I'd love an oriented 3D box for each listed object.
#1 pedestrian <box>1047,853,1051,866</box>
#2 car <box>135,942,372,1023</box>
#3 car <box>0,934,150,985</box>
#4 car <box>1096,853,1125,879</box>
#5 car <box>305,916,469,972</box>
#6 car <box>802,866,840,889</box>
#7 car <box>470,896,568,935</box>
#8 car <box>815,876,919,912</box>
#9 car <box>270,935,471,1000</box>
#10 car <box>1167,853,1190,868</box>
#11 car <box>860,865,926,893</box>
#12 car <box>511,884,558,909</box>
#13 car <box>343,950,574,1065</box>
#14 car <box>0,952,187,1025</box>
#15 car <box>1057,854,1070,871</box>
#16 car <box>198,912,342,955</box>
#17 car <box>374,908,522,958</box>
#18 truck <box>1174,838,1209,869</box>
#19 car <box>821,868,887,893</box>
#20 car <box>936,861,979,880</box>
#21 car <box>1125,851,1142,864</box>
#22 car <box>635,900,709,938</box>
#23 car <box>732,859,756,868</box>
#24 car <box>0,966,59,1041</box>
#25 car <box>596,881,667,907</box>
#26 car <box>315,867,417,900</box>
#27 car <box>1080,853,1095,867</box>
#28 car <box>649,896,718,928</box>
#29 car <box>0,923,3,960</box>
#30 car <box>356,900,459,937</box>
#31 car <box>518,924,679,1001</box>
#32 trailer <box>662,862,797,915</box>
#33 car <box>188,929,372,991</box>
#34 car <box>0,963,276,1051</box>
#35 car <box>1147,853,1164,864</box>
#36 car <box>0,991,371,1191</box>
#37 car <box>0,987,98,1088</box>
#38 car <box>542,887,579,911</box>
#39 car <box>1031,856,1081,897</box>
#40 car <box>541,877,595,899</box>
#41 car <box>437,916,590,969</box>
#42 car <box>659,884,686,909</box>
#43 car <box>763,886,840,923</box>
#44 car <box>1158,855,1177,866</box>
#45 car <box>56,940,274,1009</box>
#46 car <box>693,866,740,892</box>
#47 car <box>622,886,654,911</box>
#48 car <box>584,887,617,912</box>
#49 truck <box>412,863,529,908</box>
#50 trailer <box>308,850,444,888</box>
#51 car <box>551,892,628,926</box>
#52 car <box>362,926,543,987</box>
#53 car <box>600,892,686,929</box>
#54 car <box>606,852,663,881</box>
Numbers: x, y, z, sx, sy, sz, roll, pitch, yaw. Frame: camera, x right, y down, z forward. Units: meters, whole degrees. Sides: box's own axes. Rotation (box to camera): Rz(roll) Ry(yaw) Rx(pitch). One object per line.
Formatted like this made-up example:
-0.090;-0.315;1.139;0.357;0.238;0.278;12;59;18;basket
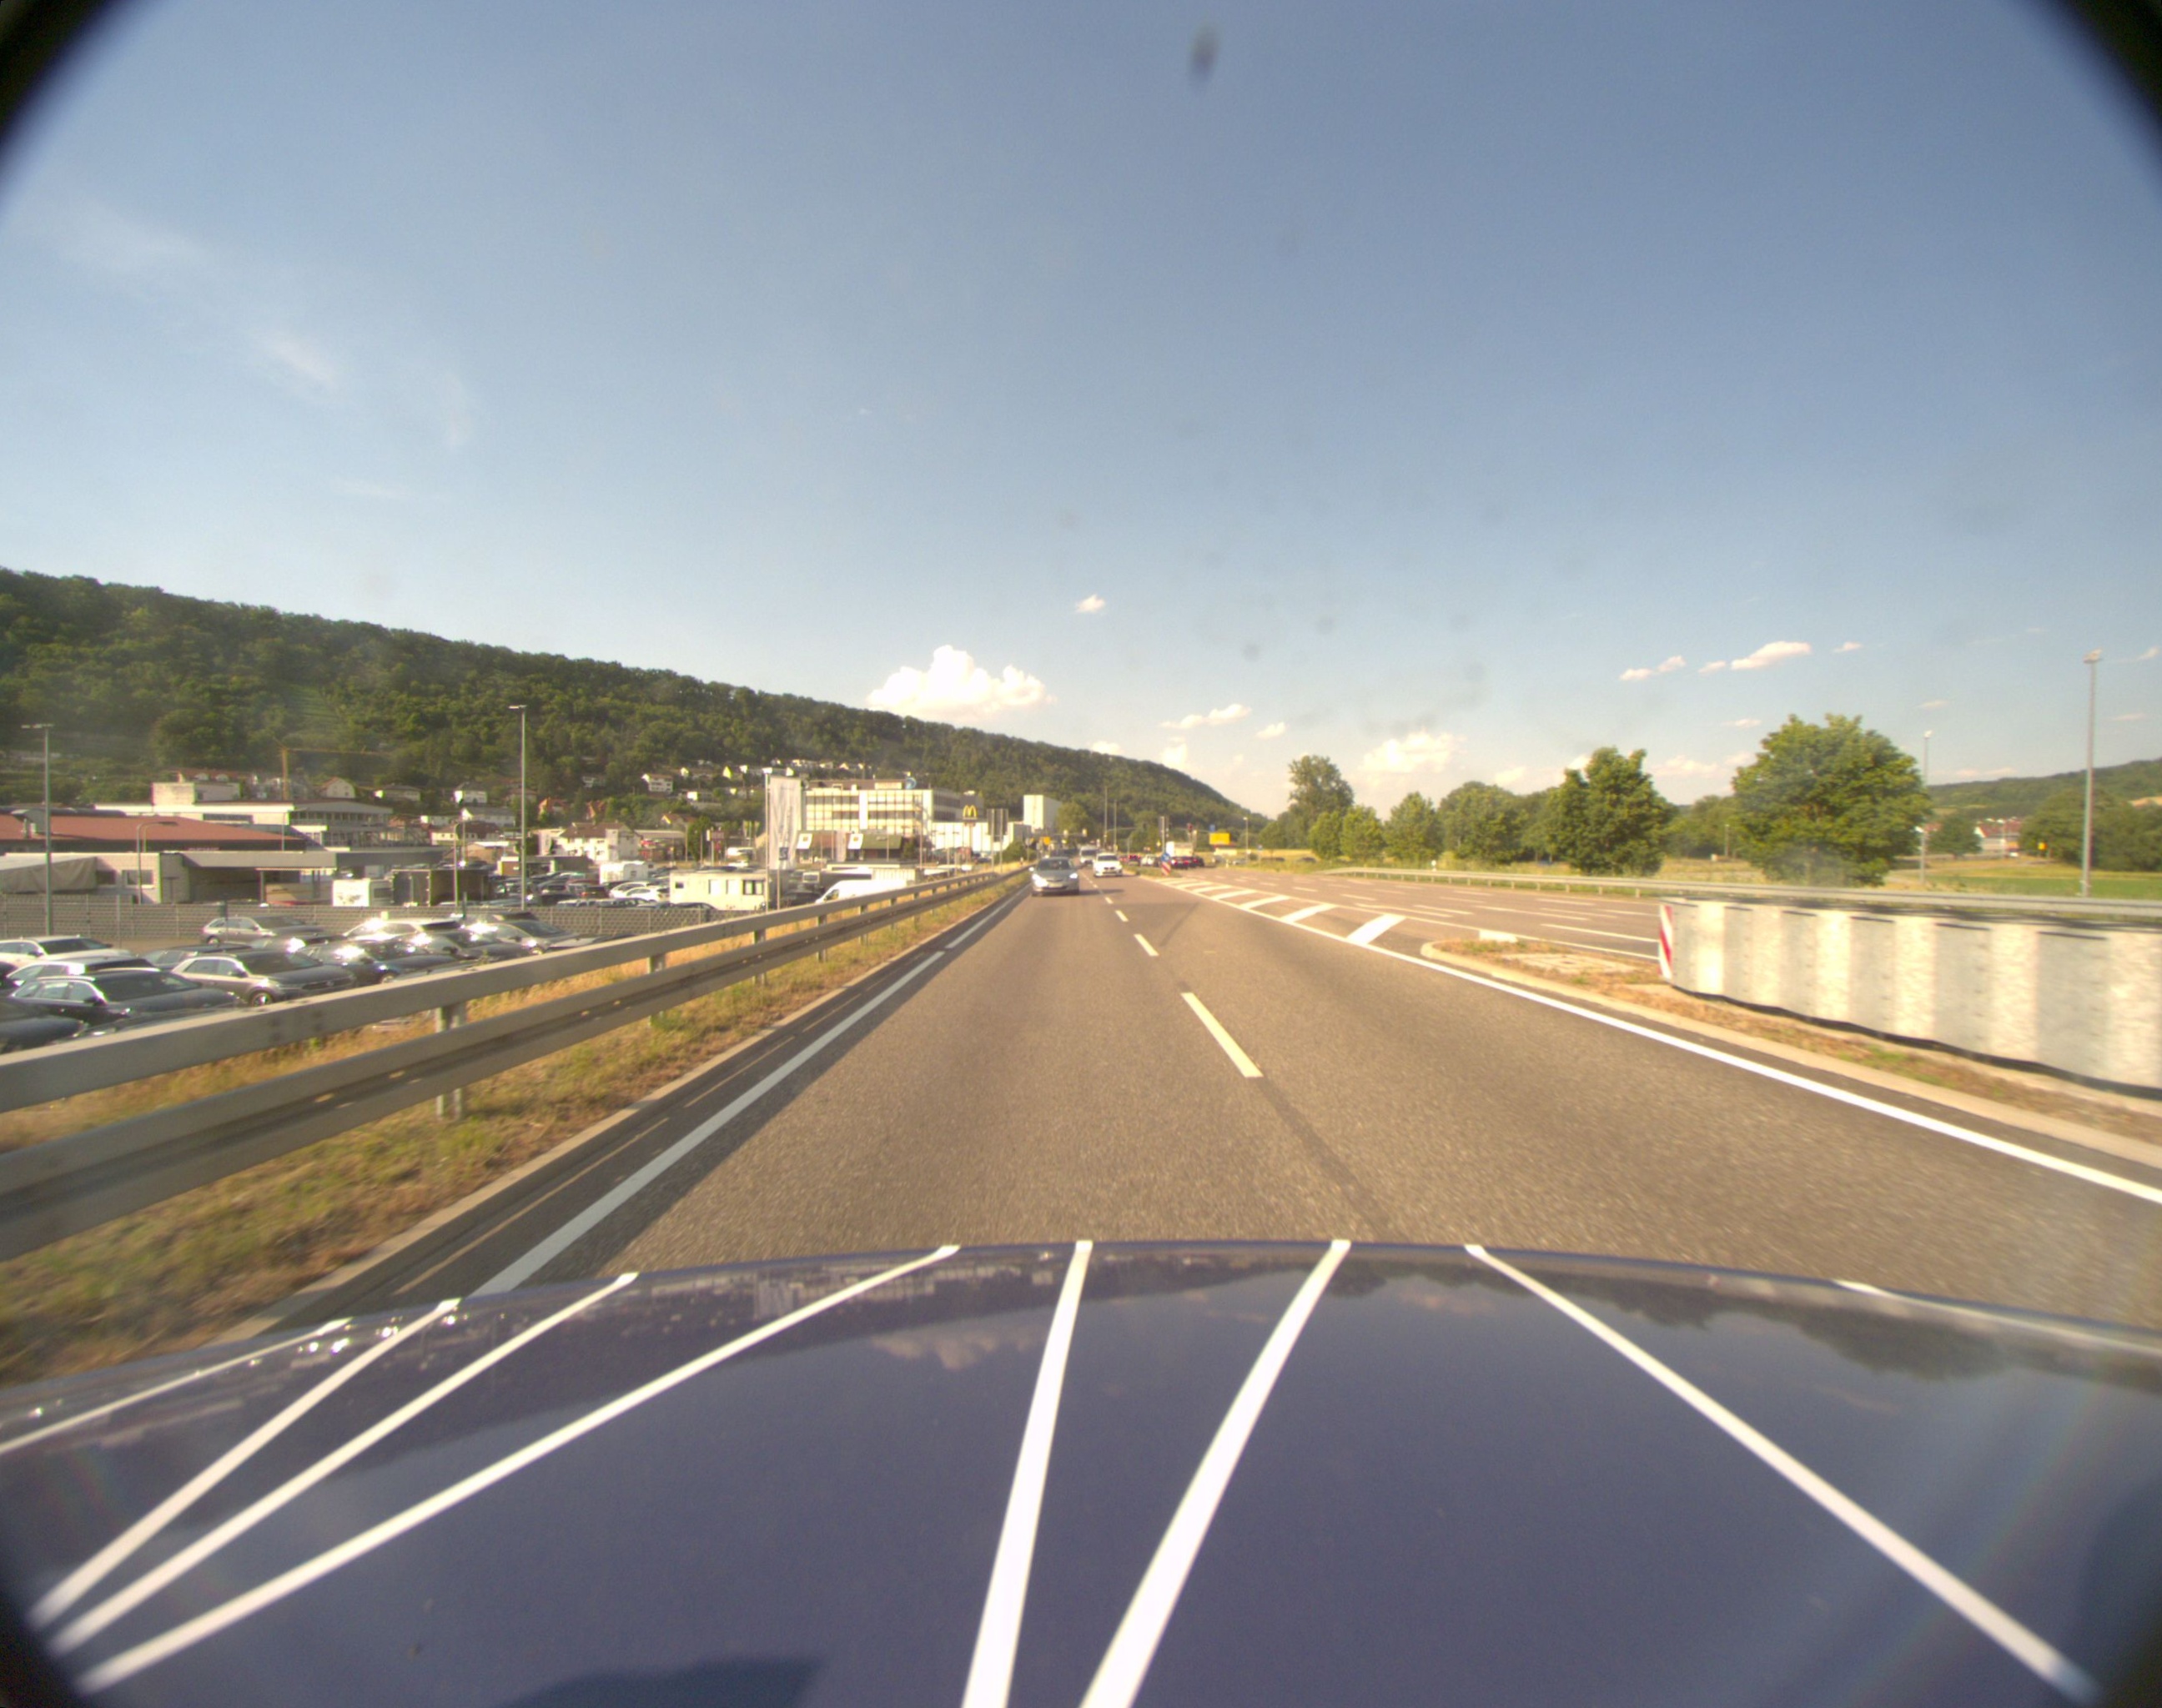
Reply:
-4.829;0.802;114.713;0.620;1.872;0.861;1;1;-1;pedestrian
-20.988;3.241;19.362;4.426;1.704;1.801;-2;1;8;car
-33.885;3.474;25.130;4.426;1.361;1.801;-2;1;8;car
1.948;0.772;51.070;1.825;1.551;3.999;-2;1;1;car
-24.513;3.160;26.915;4.426;1.704;1.801;-2;1;8;car
-25.289;2.286;74.130;1.759;1.941;4.828;-2;1;4;car
-29.444;3.173;40.004;1.600;1.585;4.286;-2;1;6;car
-13.391;2.508;47.856;5.895;2.002;2.000;-2;1;3;car
-20.463;3.253;21.975;4.426;1.534;1.801;-2;1;8;car
10.225;0.691;80.131;1.719;1.455;4.726;2;0;-1;car
-13.020;1.690;52.778;3.996;1.740;1.901;-2;1;2;car
-42.470;3.277;59.141;1.770;1.674;3.667;-1;1;-16;car
-13.833;3.328;17.292;1.742;1.616;4.310;-2;1;-2;car
-26.480;3.489;19.908;4.426;1.534;1.801;-2;1;8;car
-2.452;1.179;104.695;1.795;2.155;4.588;0;1;-2;car
-33.789;3.302;31.705;4.426;1.534;1.801;-2;1;8;car
-24.363;3.022;29.315;4.426;1.704;1.801;-1;1;8;car
13.988;-0.144;96.864;2.940;3.669;10.497;2;1;1;truck
-17.345;1.999;58.214;4.332;1.739;2.131;-2;0;2;car
-12.682;1.681;78.233;3.996;1.805;1.835;-2;1;2;car
6.598;0.390;95.035;1.785;1.511;3.999;1;1;0;car
-21.255;3.348;39.662;1.600;1.601;3.669;-2;1;5;car
-62.825;1.758;141.591;3.649;1.412;1.690;-2;1;5;car
-26.398;3.487;17.267;4.426;1.534;1.801;-2;1;8;car
-31.836;2.836;53.929;3.996;1.648;1.805;1;1;4;car
-38.796;1.555;41.364;1.600;1.534;3.892;-2;1;6;car
0.745;0.645;84.201;1.690;1.383;3.883;0;1;1;car
-22.955;3.321;44.036;1.600;1.503;3.867;-2;1;6;car
-45.961;3.612;30.144;4.339;1.534;1.801;-2;1;8;car
-36.239;3.430;41.012;1.798;1.534;3.892;-2;1;5;car
-14.103;3.127;22.591;1.799;1.534;4.432;-2;1;2;car
-24.824;2.404;53.953;7.896;3.304;3.359;-2;1;5;trailer
-26.012;3.432;24.739;4.426;1.704;1.801;-2;1;8;car
-20.852;3.350;16.859;4.426;1.534;1.801;-2;1;8;car
10.131;0.541;103.343;1.706;1.397;5.080;1;1;-1;car
-13.718;3.337;11.546;1.741;1.616;4.310;-2;1;0;car
-20.798;3.404;14.051;3.482;1.565;1.629;-2;1;8;car
-40.090;3.437;58.564;1.683;1.561;3.767;-2;1;-25;car
-0.904;0.806;29.265;1.690;1.383;3.883;0;1;1;car
-44.529;2.929;66.006;1.802;1.607;3.444;-1;1;24;car
-19.690;3.053;26.466;3.981;1.534;1.787;-2;1;4;car
-30.788;3.187;57.380;1.683;1.561;3.767;-2;1;-27;car
-18.300;3.286;49.913;4.576;2.002;1.897;-2;1;-20;car
10.572;0.766;92.869;1.706;1.276;4.818;1;0;-1;car
-26.363;3.440;21.937;4.433;1.627;1.886;-2;1;8;car
-36.549;2.479;76.352;1.759;2.233;5.297;-2;1;4;car
-33.701;3.369;57.865;1.683;1.561;3.767;-2;1;-25;car
-36.881;3.453;58.395;1.683;1.561;3.767;-2;1;-25;car
-37.258;1.827;46.640;1.998;2.357;5.970;-2;1;4;truck
-42.764;0.818;46.401;1.998;2.011;6.285;-2;1;5;trailer
-28.625;3.177;44.386;1.600;1.555;3.892;-2;1;6;car
-20.110;3.280;24.412;4.433;1.627;1.886;-2;1;8;car
-25.386;3.238;44.234;1.970;1.691;4.498;-2;1;6;car
-42.011;1.142;71.636;1.759;2.535;5.469;-2;1;4;car
